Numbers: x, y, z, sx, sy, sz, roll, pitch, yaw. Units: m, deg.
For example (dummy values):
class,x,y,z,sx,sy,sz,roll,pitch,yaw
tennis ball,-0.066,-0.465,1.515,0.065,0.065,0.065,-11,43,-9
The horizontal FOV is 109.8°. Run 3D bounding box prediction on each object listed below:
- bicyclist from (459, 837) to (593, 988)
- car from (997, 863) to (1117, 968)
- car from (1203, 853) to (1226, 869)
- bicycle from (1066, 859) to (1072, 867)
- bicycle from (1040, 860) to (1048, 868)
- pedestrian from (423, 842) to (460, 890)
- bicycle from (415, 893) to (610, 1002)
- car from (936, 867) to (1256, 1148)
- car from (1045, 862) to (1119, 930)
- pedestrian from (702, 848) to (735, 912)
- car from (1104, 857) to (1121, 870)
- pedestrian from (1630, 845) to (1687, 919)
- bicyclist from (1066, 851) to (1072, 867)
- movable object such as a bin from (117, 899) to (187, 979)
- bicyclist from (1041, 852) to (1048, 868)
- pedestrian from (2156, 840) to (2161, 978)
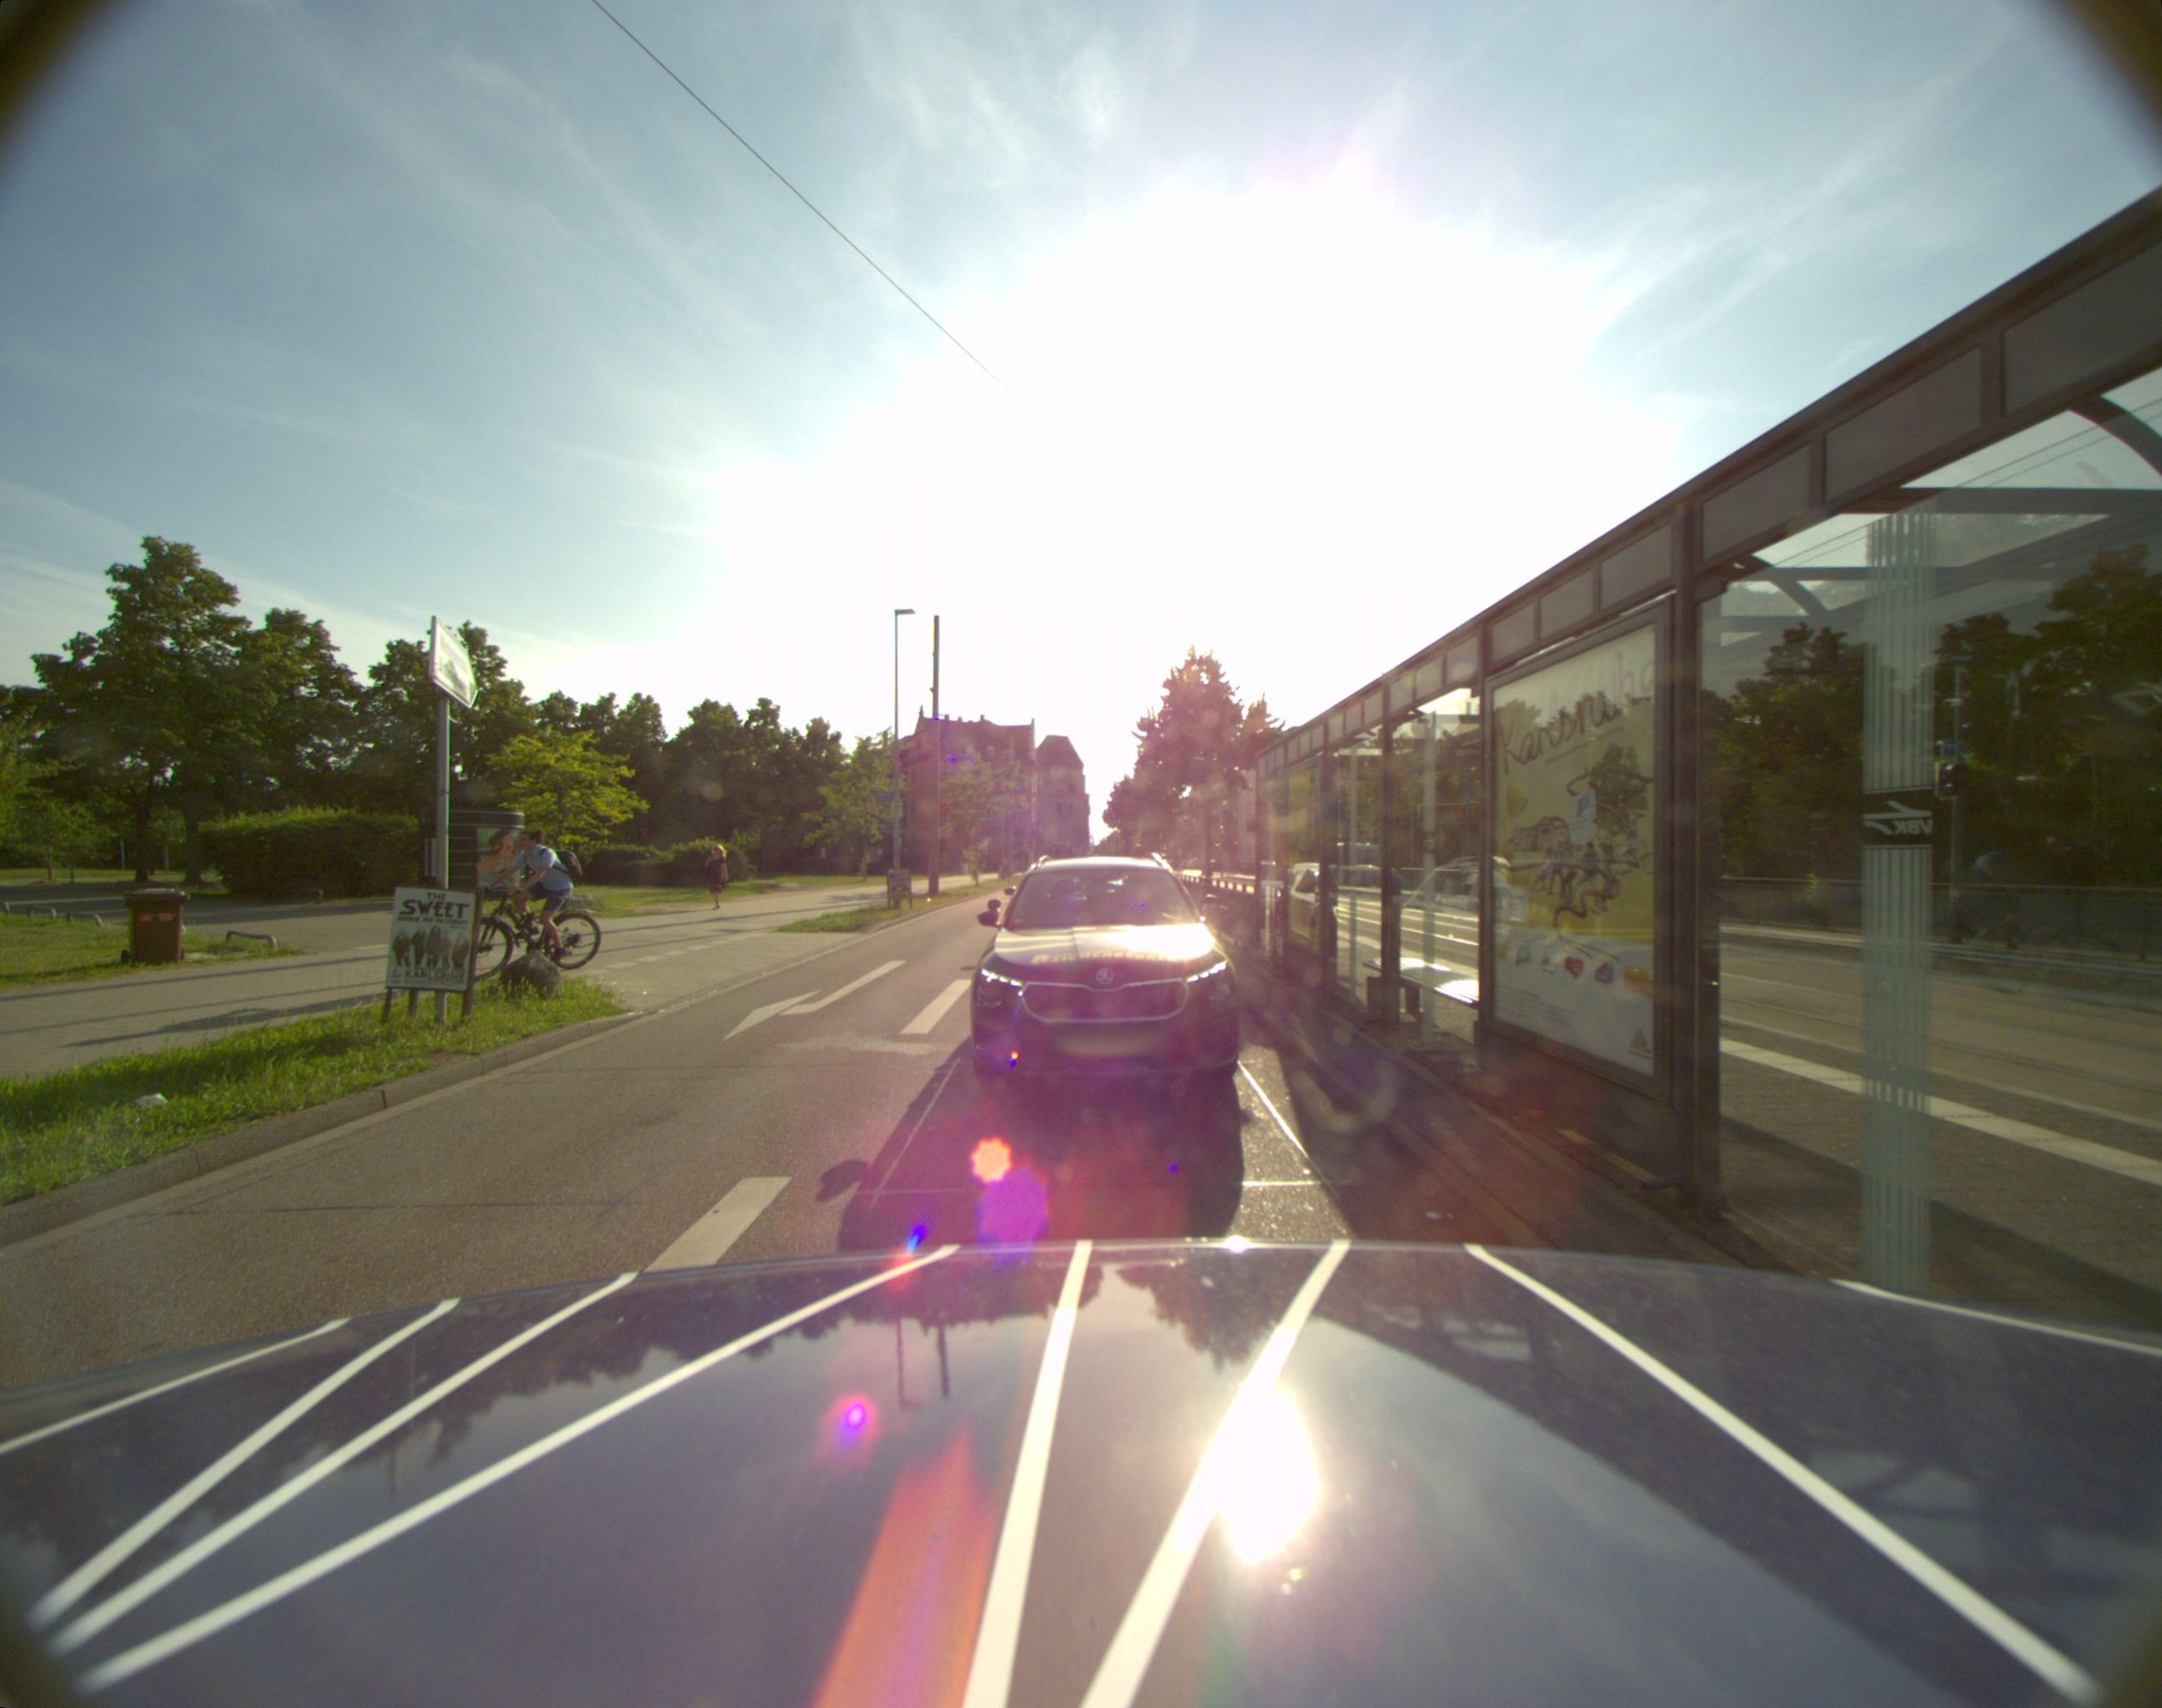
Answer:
class,x,y,z,sx,sy,sz,roll,pitch,yaw
bicyclist,-6.870,0.682,9.458,0.650,1.735,1.141,3,1,12
car,-0.330,0.938,13.237,1.781,1.496,4.000,0,0,1
car,17.132,0.931,97.568,1.999,2.002,3.999,0,0,-3
bicycle,-1.373,1.053,88.581,0.740,0.912,2.094,0,0,0
bicycle,-4.168,1.106,86.374,0.740,0.912,2.095,0,0,1
pedestrian,-28.794,0.528,34.238,0.910,2.145,0.891,0,0,13
bicycle,-6.910,1.081,9.387,0.641,1.081,1.942,3,0,13
car,0.108,0.890,6.239,1.781,1.496,4.000,0,0,1
car,0.048,0.970,19.081,1.672,1.496,3.872,0,0,1
pedestrian,-9.699,0.682,20.339,0.558,1.691,0.662,0,1,0
car,4.228,1.294,101.876,1.999,1.674,3.999,0,0,-1
pedestrian,12.900,0.615,16.987,0.736,1.618,0.689,0,0,1
bicyclist,-1.364,0.589,88.646,0.730,1.763,1.015,0,0,-1
movable object such as a bin,-11.287,1.012,9.240,0.502,0.898,0.526,1,1,39
bicyclist,-4.170,0.671,86.394,0.754,1.763,1.118,0,0,0
pedestrian,13.105,0.650,8.637,0.708,1.618,0.727,0,0,1
